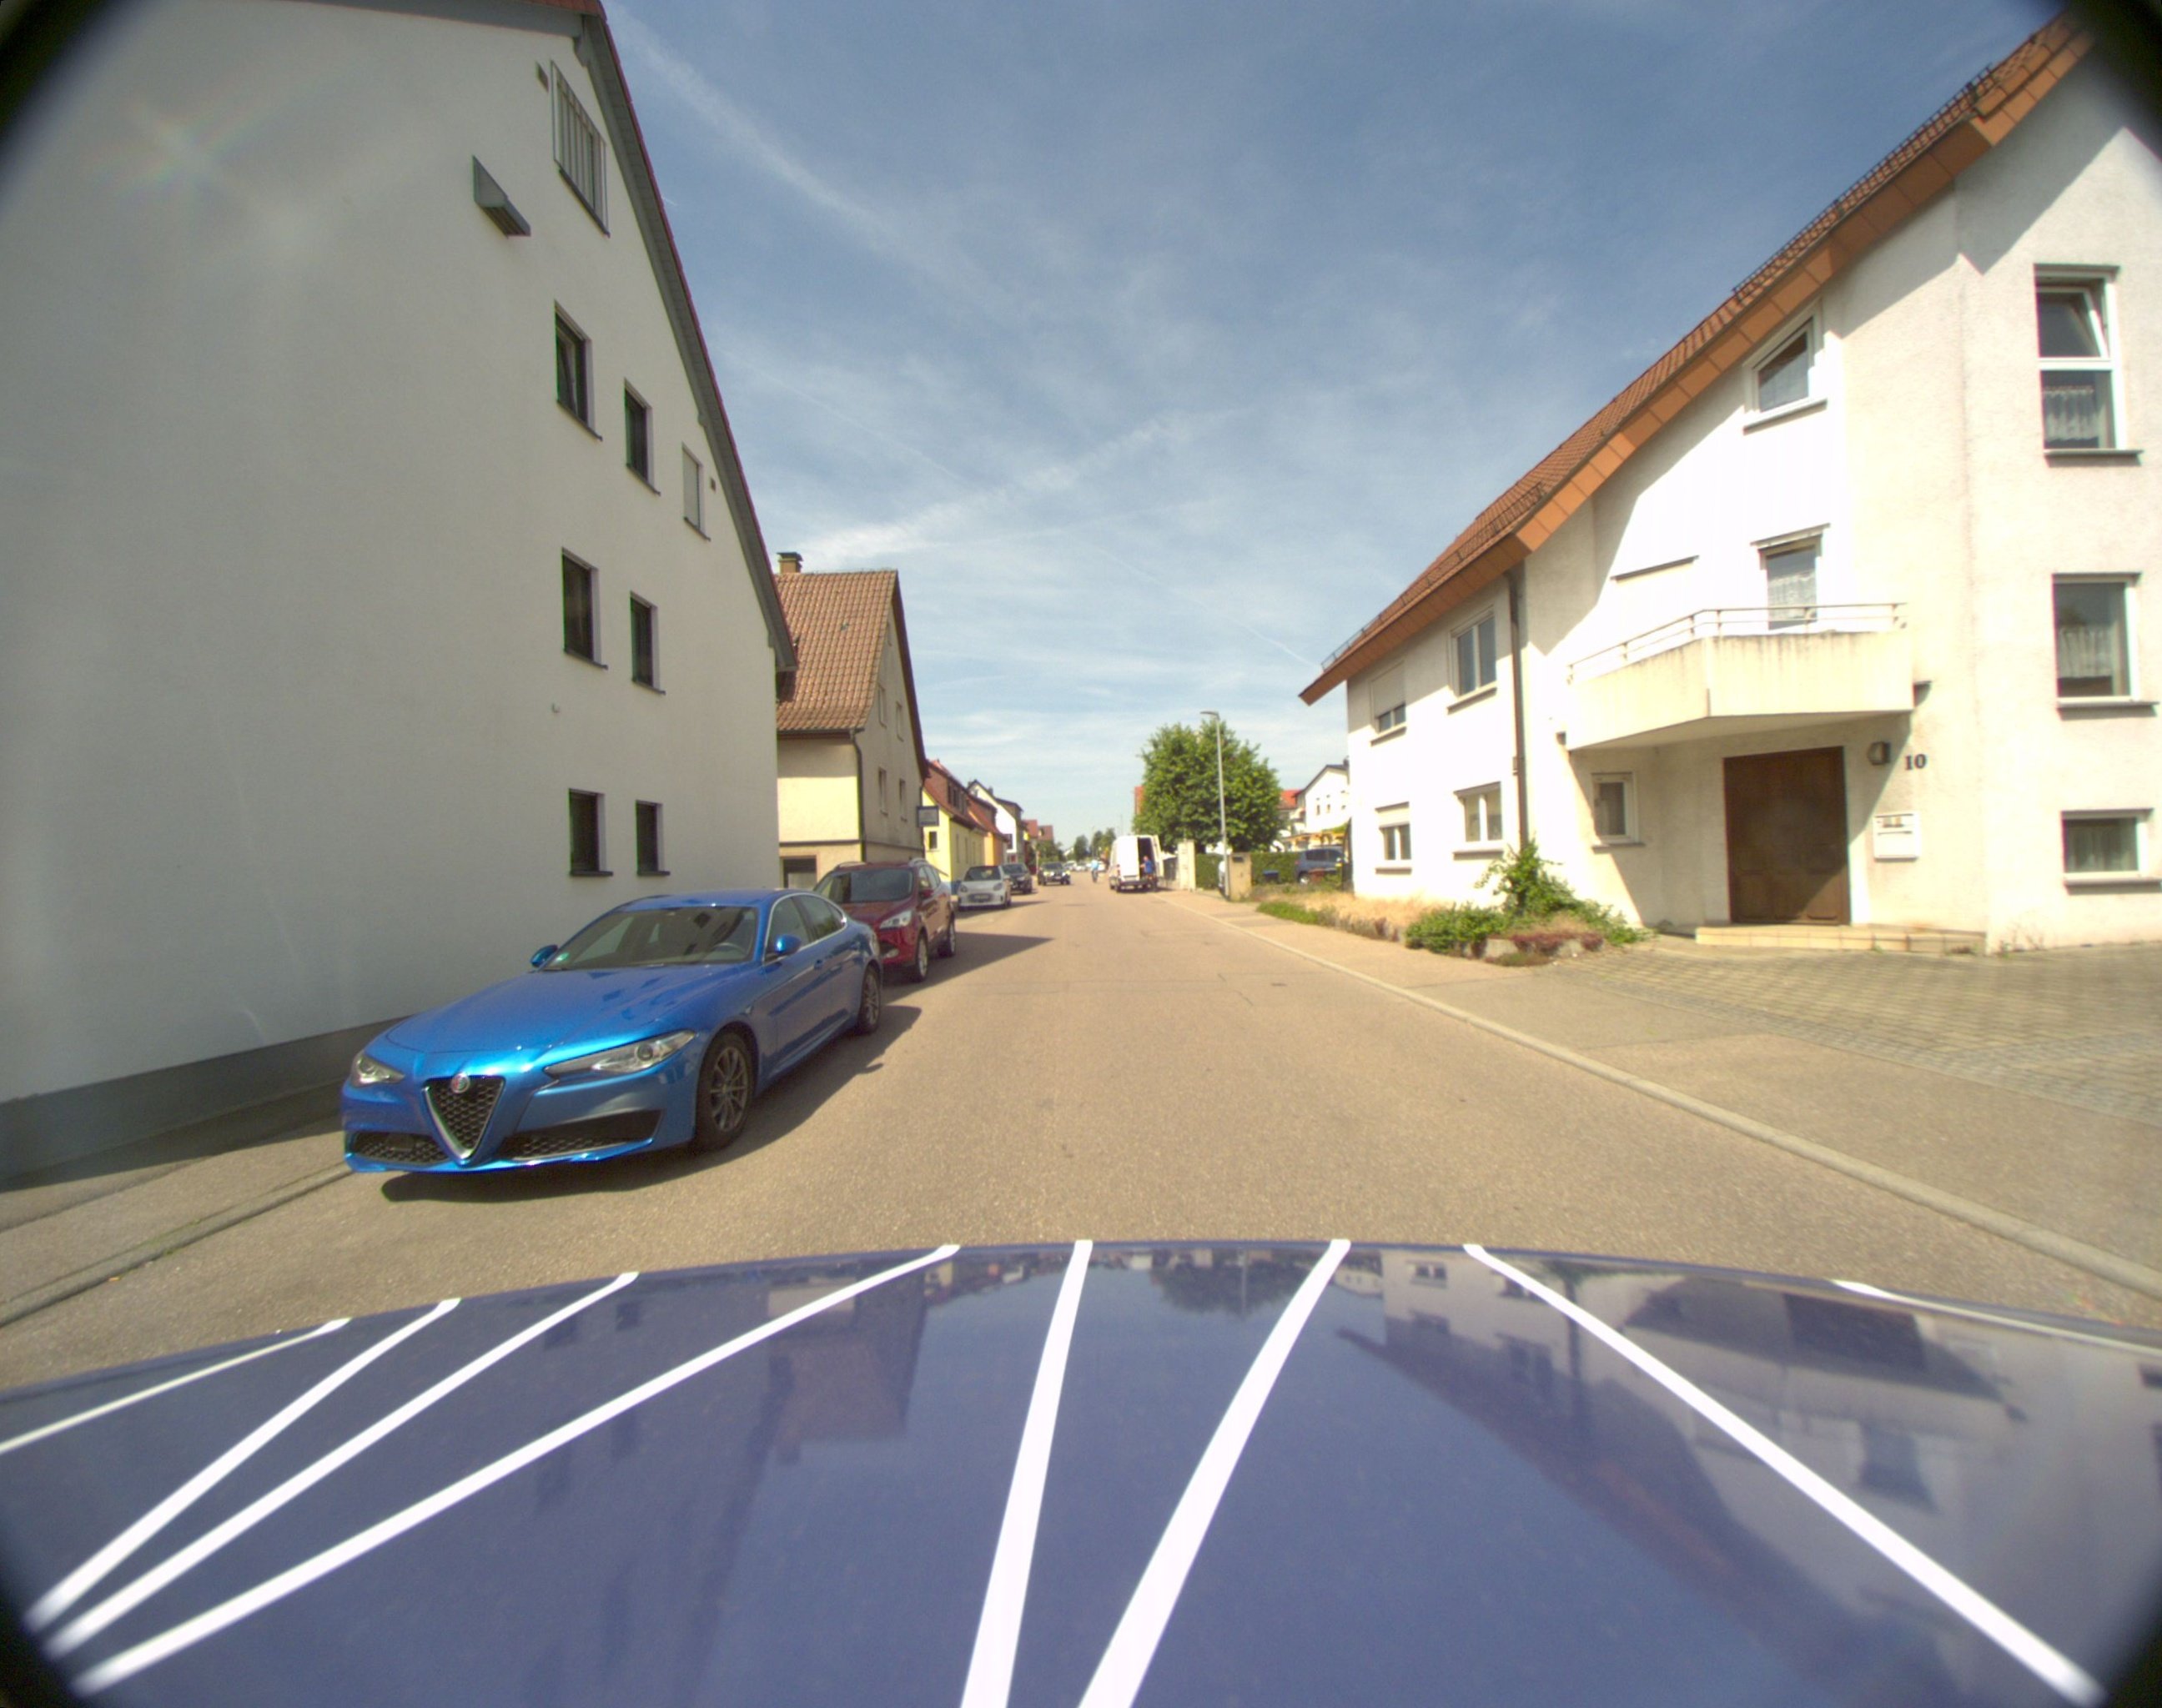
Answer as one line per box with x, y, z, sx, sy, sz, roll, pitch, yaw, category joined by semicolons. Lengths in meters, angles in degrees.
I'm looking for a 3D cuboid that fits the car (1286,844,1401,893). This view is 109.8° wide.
9.719;0.527;28.408;1.776;1.668;3.931;-2;0;-26;car

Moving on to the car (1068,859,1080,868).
-1.156;1.589;125.753;1.755;1.412;4.421;-2;0;3;car

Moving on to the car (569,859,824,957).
-8.323;1.123;16.832;4.528;1.832;1.999;-3;0;-3;car

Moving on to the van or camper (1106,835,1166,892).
2.677;0.459;38.569;2.190;2.556;6.806;-3;0;-2;van or camper

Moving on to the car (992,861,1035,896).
-3.380;1.209;38.542;1.733;1.590;4.253;-3;0;0;car

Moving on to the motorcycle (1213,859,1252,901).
5.304;0.871;26.685;0.785;1.385;2.352;-2;0;-2;motorcycle

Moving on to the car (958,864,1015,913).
-3.339;1.175;27.214;1.678;1.549;3.040;-3;0;-2;car

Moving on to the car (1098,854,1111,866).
3.778;0.984;123.822;1.973;1.940;4.697;-2;0;3;car

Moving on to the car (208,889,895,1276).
-2.864;1.102;5.605;1.767;1.415;4.592;-3;0;0;car

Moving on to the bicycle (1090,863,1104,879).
1.134;1.219;54.334;0.672;1.126;2.188;-1;0;-6;bicycle

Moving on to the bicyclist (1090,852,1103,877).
1.113;0.745;54.295;0.715;1.788;0.941;-3;0;-8;bicyclist

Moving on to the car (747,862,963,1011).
-3.065;1.021;11.295;1.880;1.690;4.183;-3;0;0;car

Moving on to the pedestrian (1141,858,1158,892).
3.124;0.940;34.760;0.574;1.509;0.726;-5;0;-3;pedestrian

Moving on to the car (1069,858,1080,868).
-1.130;1.524;132.818;1.740;1.652;4.337;-4;0;2;car

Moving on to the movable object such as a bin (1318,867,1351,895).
8.591;0.916;25.749;0.802;0.900;0.773;-2;0;-2;movable object such as a bin

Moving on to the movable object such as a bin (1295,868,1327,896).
7.779;0.943;25.714;0.802;0.900;0.773;-2;0;-2;movable object such as a bin

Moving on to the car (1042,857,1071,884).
-1.664;1.103;51.449;1.838;1.637;4.323;-3;0;-2;car
